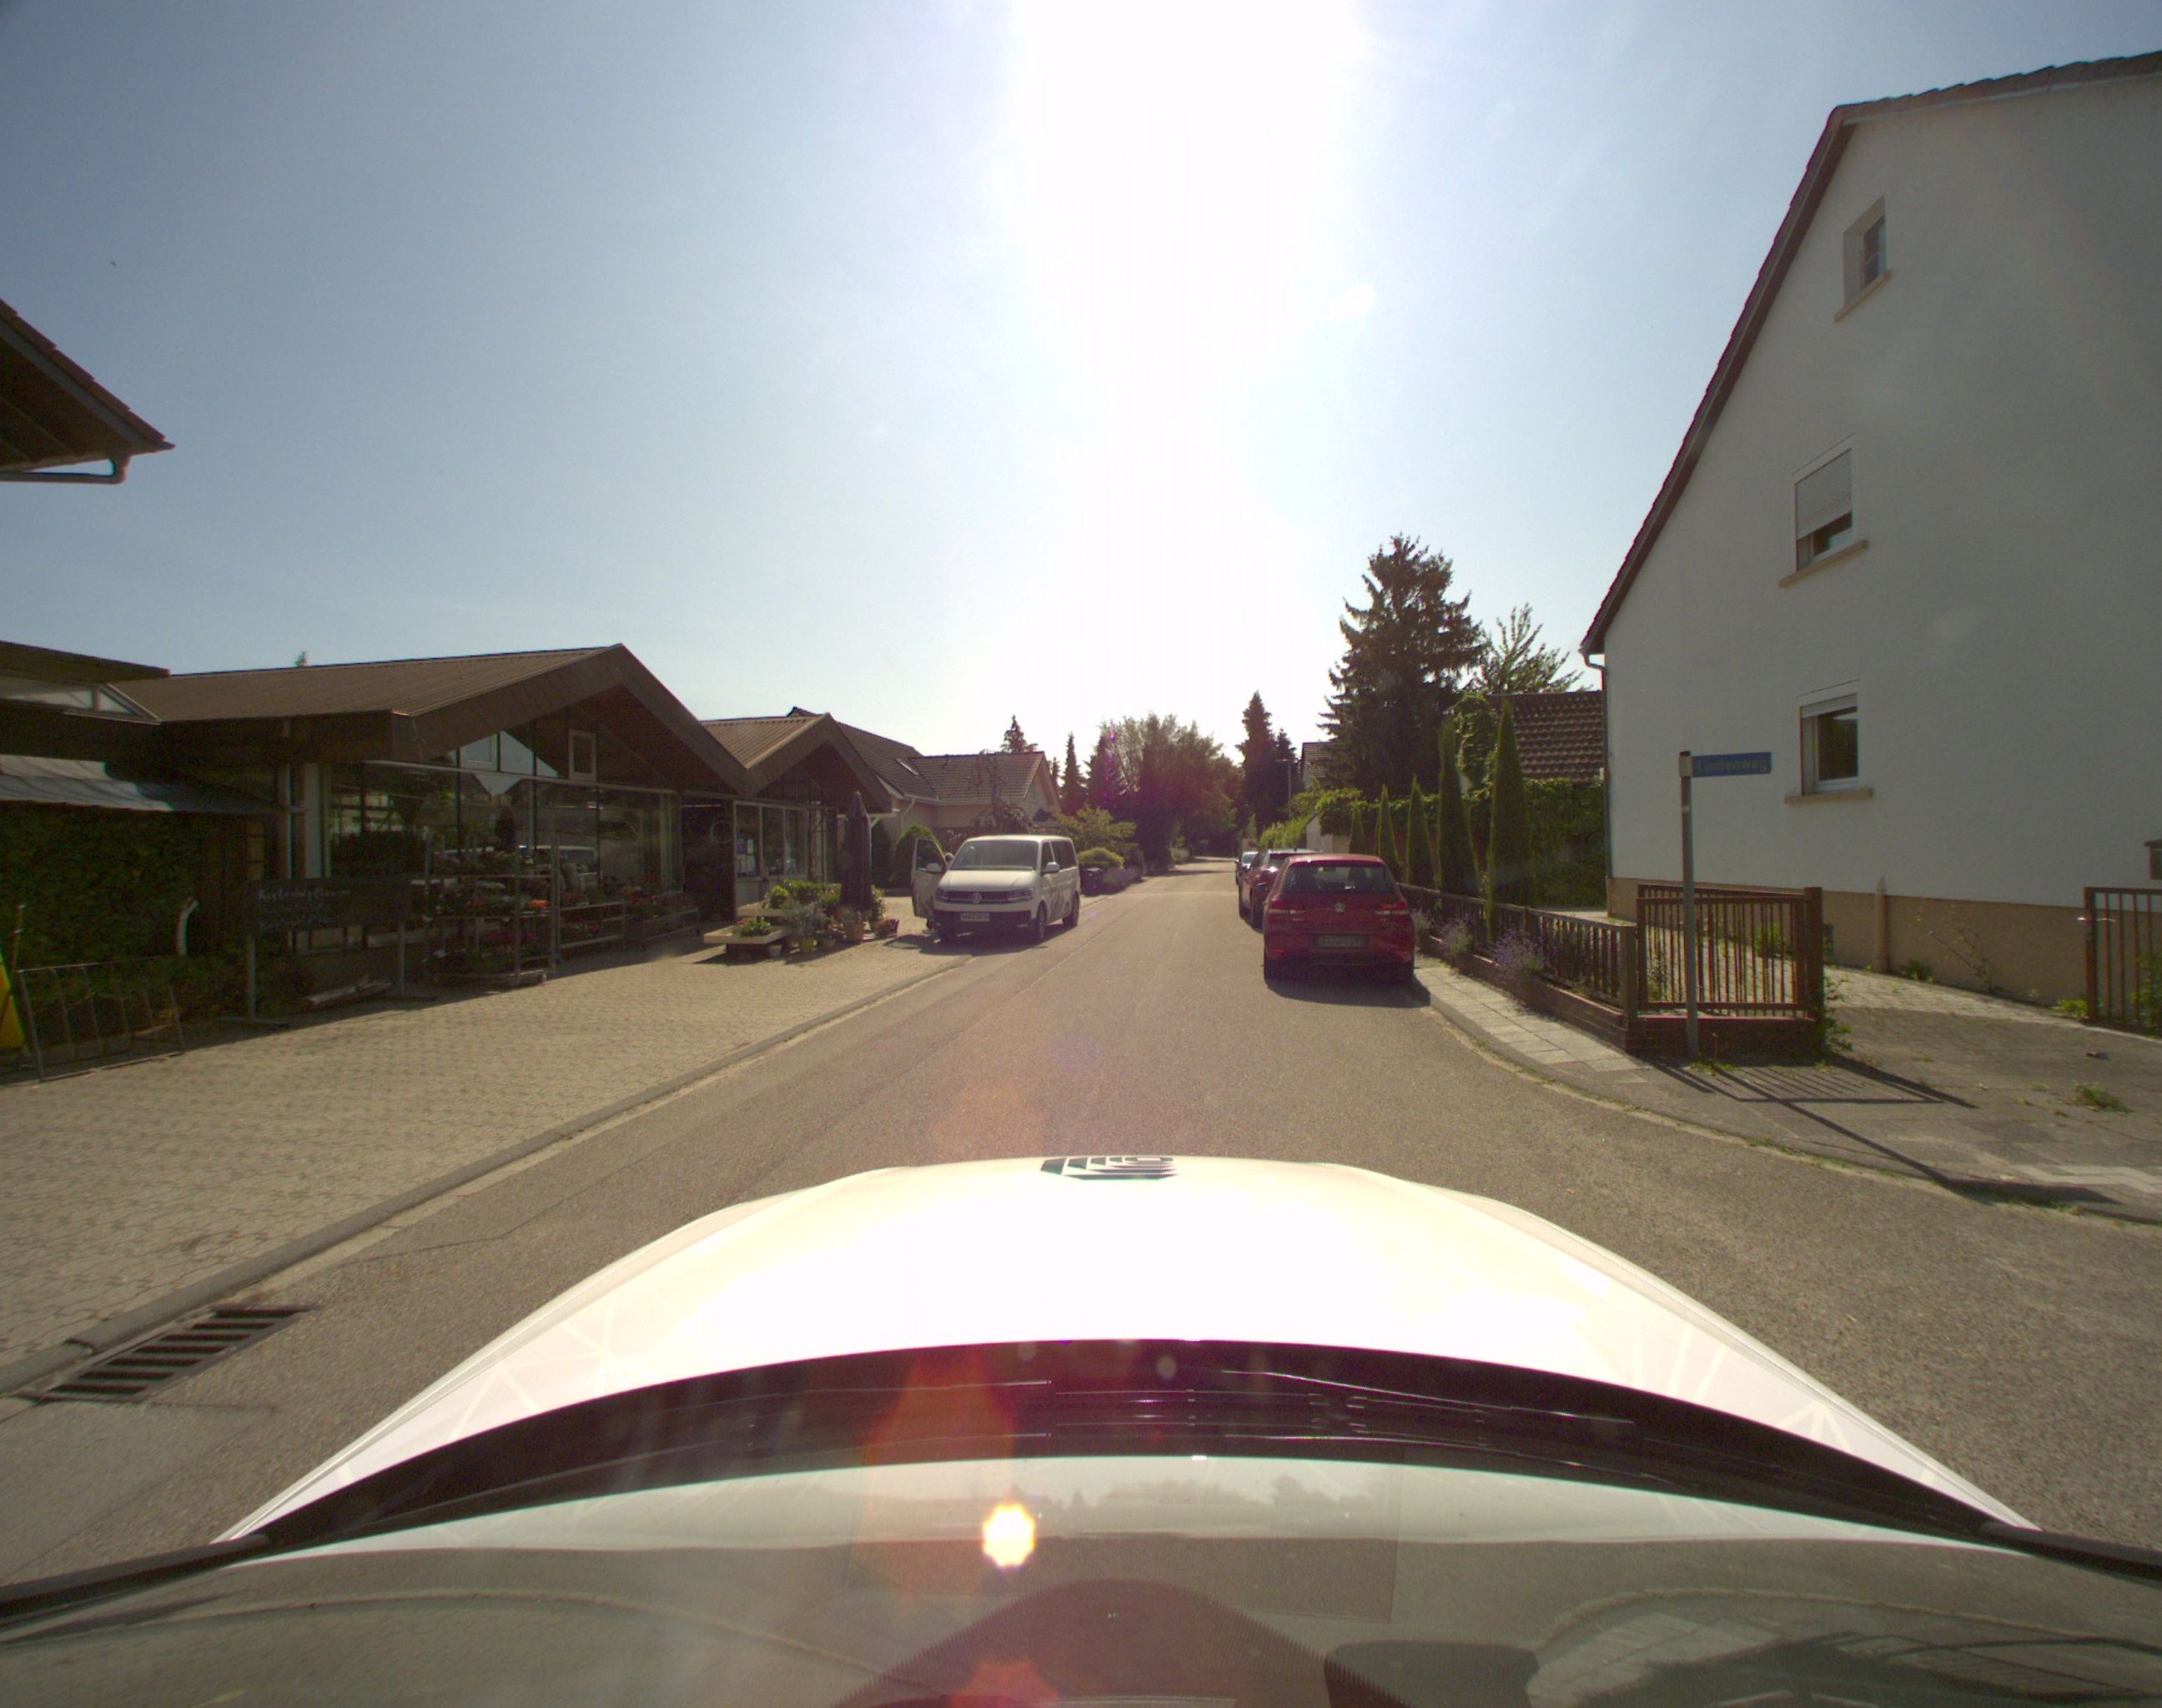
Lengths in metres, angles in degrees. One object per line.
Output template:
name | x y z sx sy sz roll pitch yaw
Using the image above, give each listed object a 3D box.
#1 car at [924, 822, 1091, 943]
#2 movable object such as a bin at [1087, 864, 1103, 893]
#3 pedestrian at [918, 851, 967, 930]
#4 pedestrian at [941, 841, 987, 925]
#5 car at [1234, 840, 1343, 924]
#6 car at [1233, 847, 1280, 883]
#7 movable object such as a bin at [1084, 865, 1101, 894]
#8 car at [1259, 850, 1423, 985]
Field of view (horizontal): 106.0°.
car | -1.229 0.471 16.170 1.916 2.013 4.911 -2 0 11
movable object such as a bin | 0.503 0.902 29.686 0.491 1.024 0.449 -2 0 10
pedestrian | -2.791 0.722 16.386 0.710 1.538 0.646 -1 0 43
pedestrian | -2.460 0.595 17.144 0.683 1.731 0.646 -1 0 40
car | 4.380 0.545 17.726 1.812 1.615 4.008 -1 0 7
car | 7.355 0.435 34.416 1.692 1.399 4.010 -1 0 9
movable object such as a bin | 0.422 0.902 29.229 0.491 1.024 0.449 -2 0 10
car | 3.349 0.699 11.073 1.763 1.479 4.014 0 0 13
